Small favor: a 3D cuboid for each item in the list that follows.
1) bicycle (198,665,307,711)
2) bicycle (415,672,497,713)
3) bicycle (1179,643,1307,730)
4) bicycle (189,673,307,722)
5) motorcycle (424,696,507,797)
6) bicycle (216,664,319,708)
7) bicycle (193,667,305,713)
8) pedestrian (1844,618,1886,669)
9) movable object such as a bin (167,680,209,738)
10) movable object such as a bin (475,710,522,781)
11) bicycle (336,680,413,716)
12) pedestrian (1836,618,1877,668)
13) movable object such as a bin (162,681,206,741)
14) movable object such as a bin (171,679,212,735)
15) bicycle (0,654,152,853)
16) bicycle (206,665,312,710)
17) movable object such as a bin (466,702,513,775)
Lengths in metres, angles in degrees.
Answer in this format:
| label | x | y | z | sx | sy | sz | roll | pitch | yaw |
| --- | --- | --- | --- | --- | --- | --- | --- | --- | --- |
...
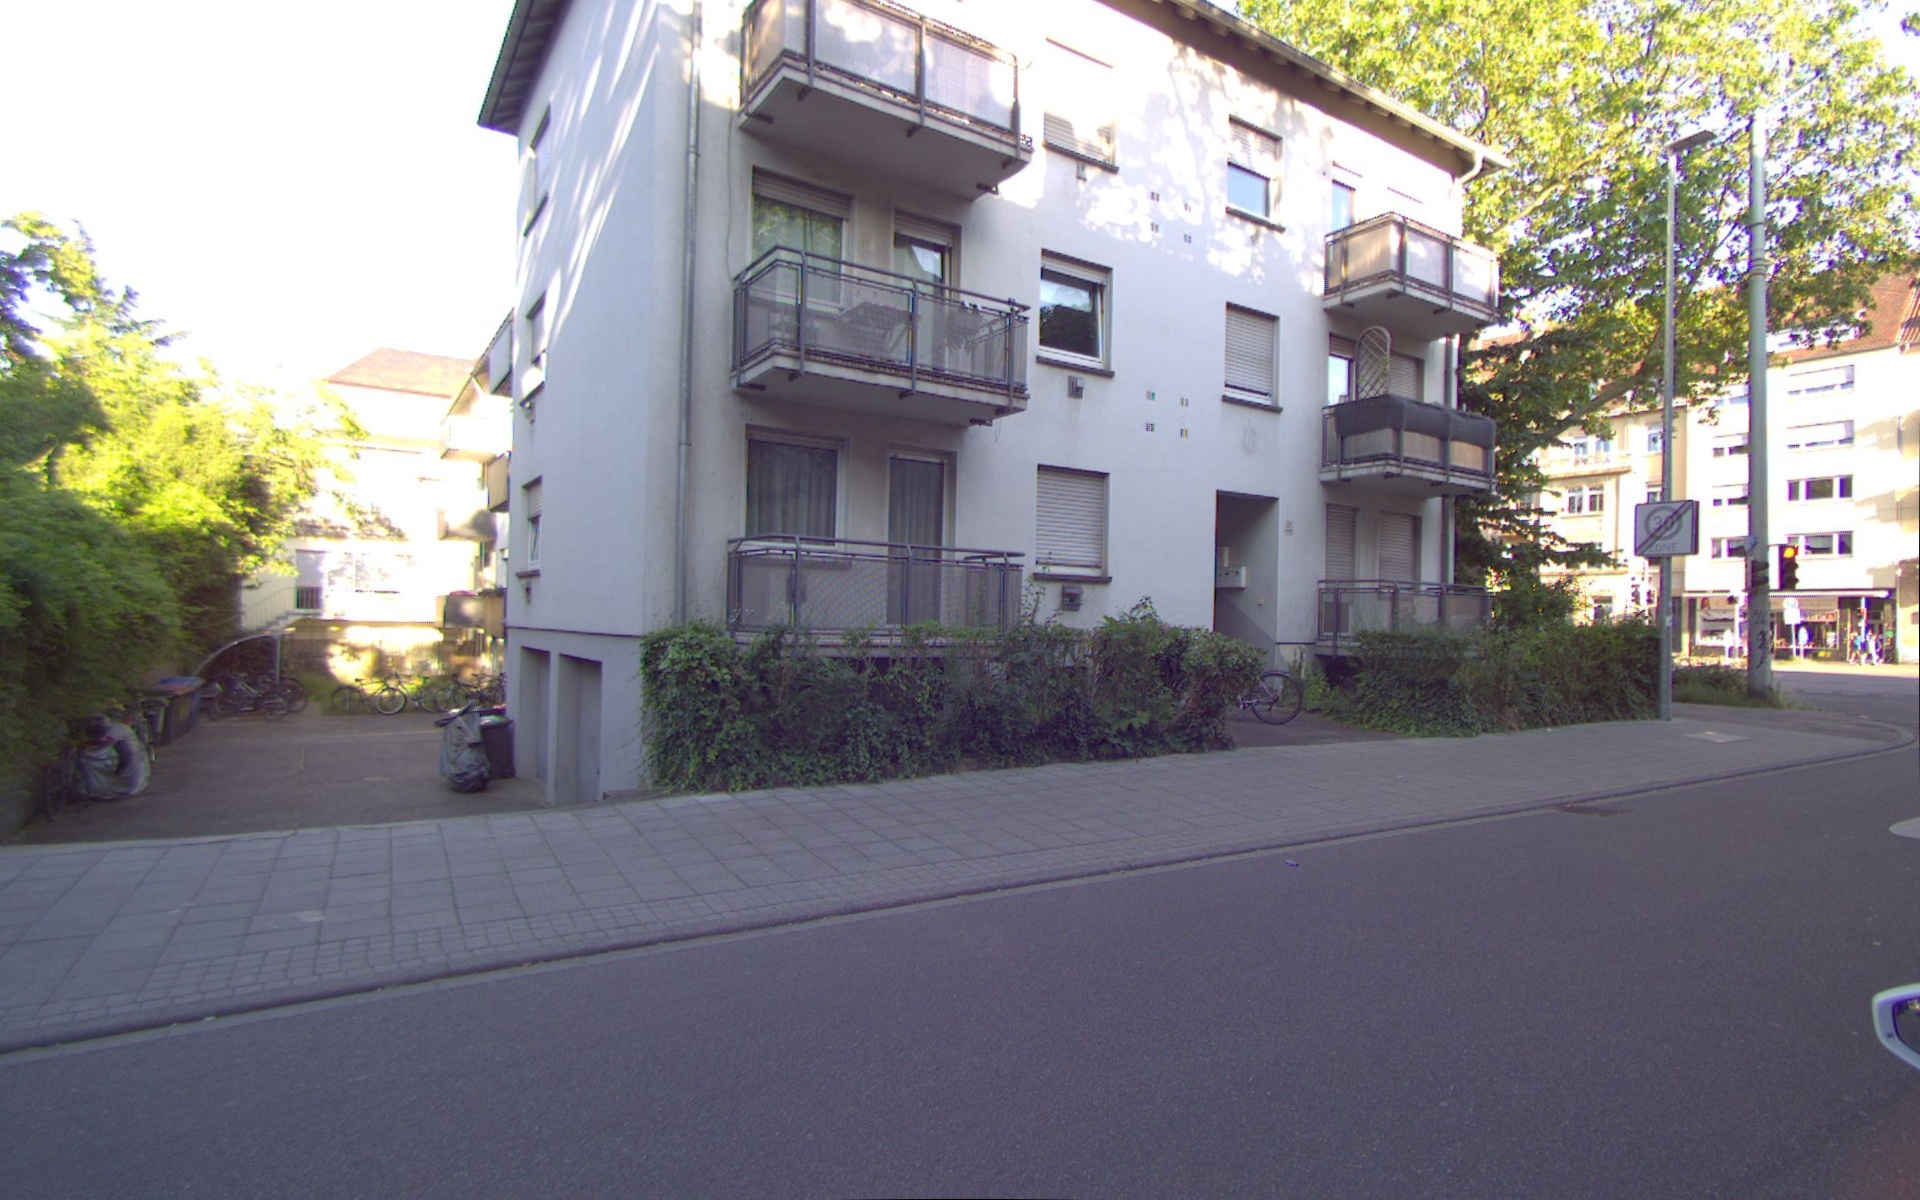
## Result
| label | x | y | z | sx | sy | sz | roll | pitch | yaw |
| --- | --- | --- | --- | --- | --- | --- | --- | --- | --- |
| bicycle | -19.027 | 2.352 | 27.098 | 2.311 | 1.192 | 0.689 | 2 | -4 | -30 |
| bicycle | -13.913 | 2.551 | 27.754 | 1.982 | 1.085 | 0.561 | 2 | -4 | -30 |
| bicycle | 3.827 | 1.147 | 13.577 | 1.590 | 1.022 | 0.517 | 3 | 1 | 20 |
| bicycle | -17.337 | 2.361 | 24.534 | 2.268 | 1.148 | 0.689 | 2 | -4 | -30 |
| motorcycle | -7.406 | 2.141 | 15.015 | 0.739 | 1.313 | 1.563 | 2 | -2 | -41 |
| bicycle | -19.644 | 2.425 | 28.549 | 2.311 | 1.192 | 0.689 | 2 | -4 | -30 |
| bicycle | -18.601 | 2.335 | 26.352 | 2.311 | 1.148 | 0.689 | 2 | -4 | -30 |
| pedestrian | 45.729 | 2.180 | 50.752 | 1.049 | 2.497 | 1.338 | 1 | 0 | -34 |
| movable object such as a bin | -15.931 | 2.239 | 20.732 | 0.606 | 1.129 | 0.795 | 1 | -3 | -33 |
| movable object such as a bin | -7.403 | 2.316 | 16.097 | 0.606 | 1.051 | 0.534 | 1 | -3 | -34 |
| bicycle | -15.567 | 2.603 | 26.754 | 1.734 | 0.890 | 0.561 | 2 | -4 | -30 |
| pedestrian | 46.441 | 2.215 | 52.045 | 1.049 | 2.497 | 1.338 | 1 | 0 | -34 |
| movable object such as a bin | -15.490 | 2.208 | 20.062 | 0.606 | 1.129 | 0.795 | 1 | -3 | -33 |
| movable object such as a bin | -16.364 | 2.268 | 21.394 | 0.606 | 1.129 | 0.795 | 1 | -3 | -33 |
| bicycle | -10.603 | 1.646 | 11.987 | 0.961 | 1.917 | 4.156 | 1 | -2 | -32 |
| bicycle | -19.373 | 2.394 | 27.824 | 2.311 | 1.192 | 0.689 | 2 | -4 | -30 |
| movable object such as a bin | -7.918 | 2.316 | 16.910 | 0.606 | 1.129 | 0.795 | 1 | -3 | -33 |
